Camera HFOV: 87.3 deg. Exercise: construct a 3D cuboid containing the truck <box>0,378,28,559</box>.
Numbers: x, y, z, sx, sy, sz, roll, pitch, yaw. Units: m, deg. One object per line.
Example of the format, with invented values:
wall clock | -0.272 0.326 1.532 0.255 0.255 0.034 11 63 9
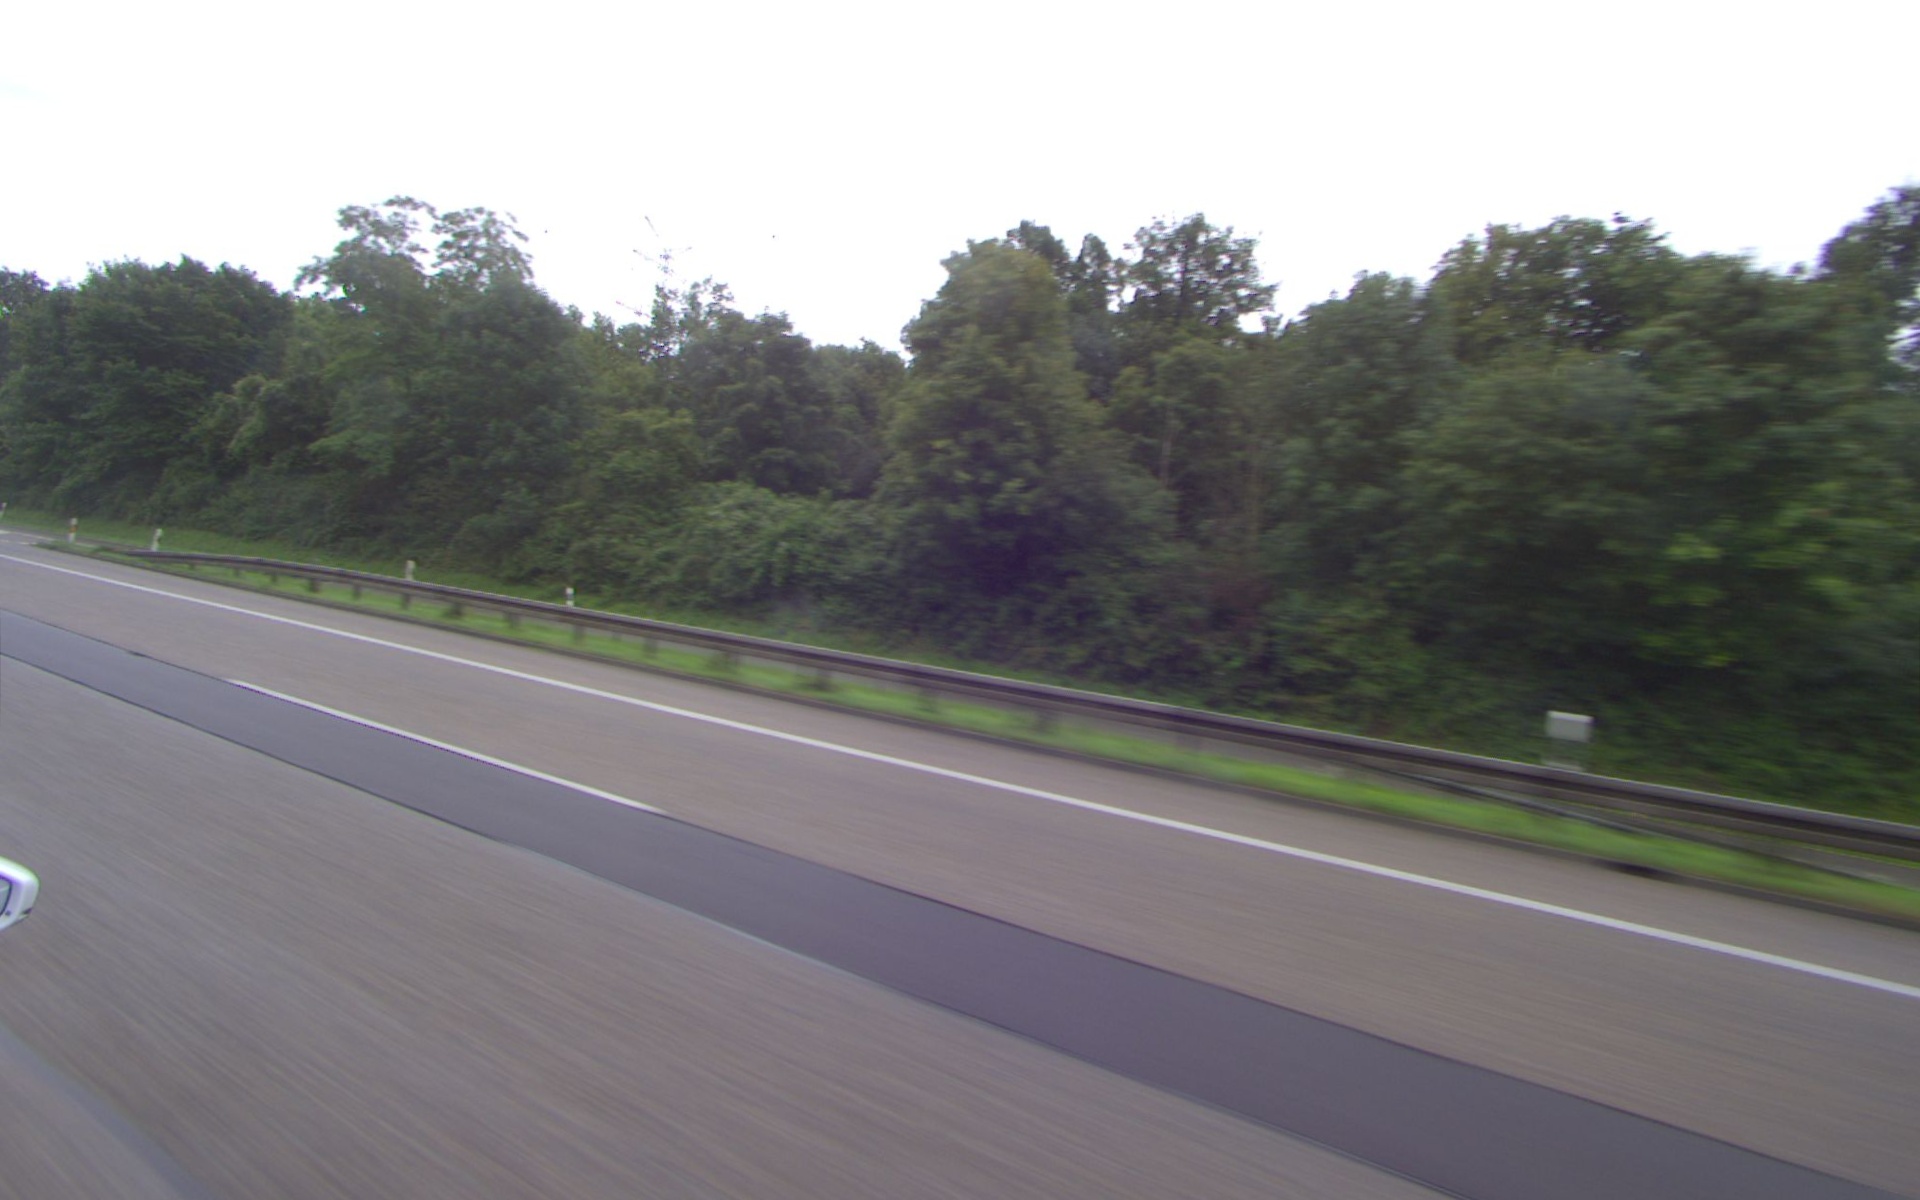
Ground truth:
truck | -29.860 -3.921 26.930 12.981 4.385 3.608 6 0 32
